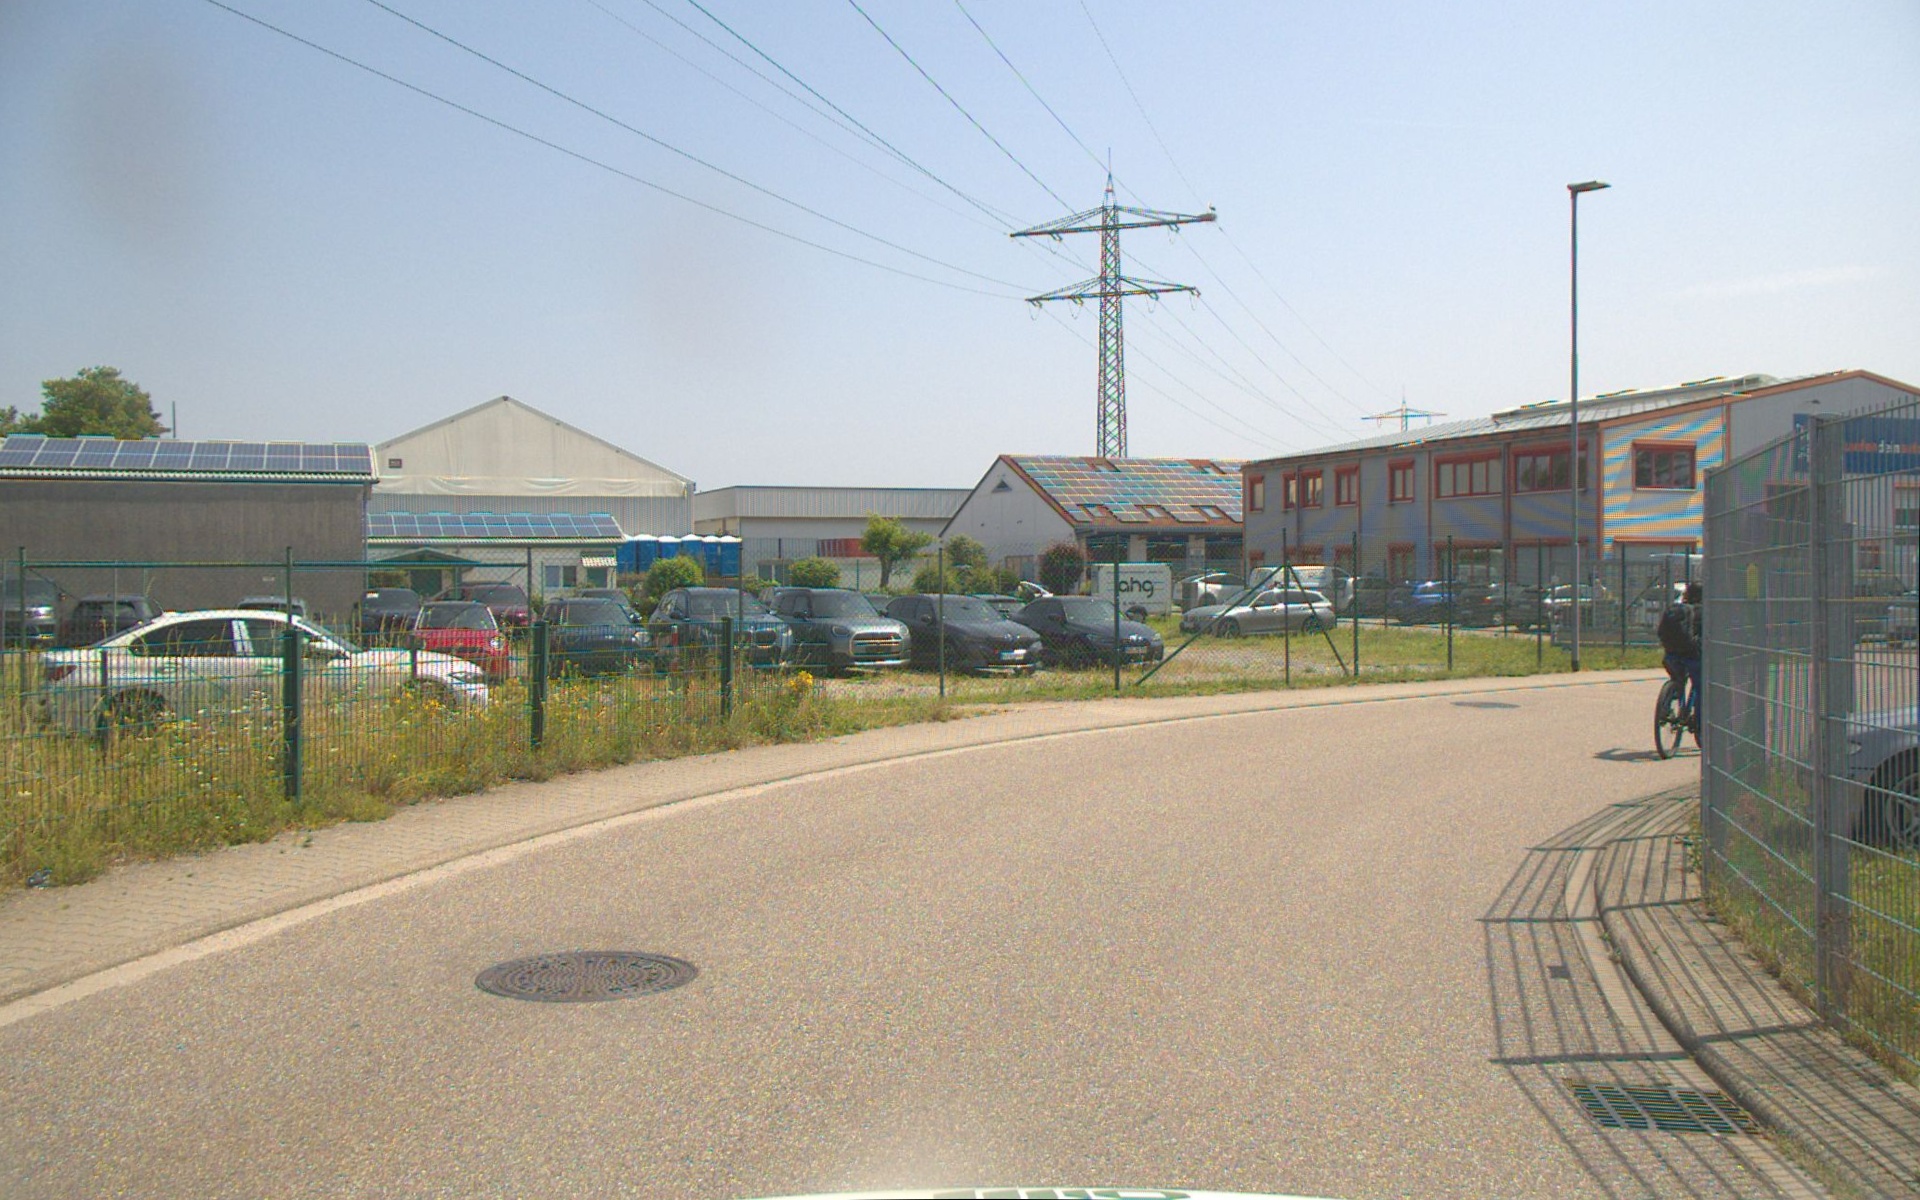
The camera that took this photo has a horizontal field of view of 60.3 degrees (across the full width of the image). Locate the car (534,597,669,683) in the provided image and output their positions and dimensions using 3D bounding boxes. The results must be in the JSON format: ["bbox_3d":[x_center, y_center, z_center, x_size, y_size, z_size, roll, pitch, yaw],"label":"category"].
[{"bbox_3d":[-6.661,0.683,30.484,1.837,1.458,3.624,0,0,-22],"label":"car"}]

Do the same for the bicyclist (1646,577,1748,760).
[{"bbox_3d":[6.974,0.612,15.636,0.826,1.646,1.038,1,1,26],"label":"bicyclist"}]

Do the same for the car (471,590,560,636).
[{"bbox_3d":[-12.310,0.324,45.635,1.837,1.196,4.572,0,0,-22],"label":"car"}]

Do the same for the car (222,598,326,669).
[{"bbox_3d":[-13.765,0.623,33.109,1.838,1.321,3.415,0,0,-24],"label":"car"}]

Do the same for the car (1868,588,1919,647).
[{"bbox_3d":[25.097,0.420,42.068,3.544,1.429,1.739,-1,1,-24],"label":"car"}]

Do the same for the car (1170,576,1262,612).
[{"bbox_3d":[11.291,-0.278,72.987,3.842,1.542,1.497,-1,1,-24],"label":"car"}]

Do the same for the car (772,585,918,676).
[{"bbox_3d":[-2.317,0.548,32.574,1.837,1.672,3.609,0,0,-22],"label":"car"}]

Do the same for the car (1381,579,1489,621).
[{"bbox_3d":[16.765,-0.013,58.335,3.544,1.441,1.497,-1,1,-24],"label":"car"}]

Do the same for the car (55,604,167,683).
[{"bbox_3d":[-16.786,0.812,32.627,1.843,1.439,3.407,0,0,-30],"label":"car"}]

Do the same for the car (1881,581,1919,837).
[{"bbox_3d":[7.397,0.600,8.859,4.264,1.419,1.613,0,0,32],"label":"car"}]

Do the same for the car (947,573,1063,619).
[{"bbox_3d":[1.656,-0.161,61.259,3.930,1.626,1.865,0,0,-21],"label":"car"}]

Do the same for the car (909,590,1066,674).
[{"bbox_3d":[0.489,0.588,33.112,1.837,1.581,3.745,0,0,-22],"label":"car"}]

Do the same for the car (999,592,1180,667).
[{"bbox_3d":[2.653,0.565,35.075,1.968,1.460,4.633,0,0,-22],"label":"car"}]

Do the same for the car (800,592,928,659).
[{"bbox_3d":[-2.330,0.564,39.135,1.964,1.445,3.977,-1,1,-20],"label":"car"}]

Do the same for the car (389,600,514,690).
[{"bbox_3d":[-9.078,0.748,29.381,1.837,1.479,3.417,0,0,-22],"label":"car"}]

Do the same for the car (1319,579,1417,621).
[{"bbox_3d":[15.832,0.002,64.171,3.544,1.571,1.497,-1,1,-24],"label":"car"}]

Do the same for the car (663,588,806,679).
[{"bbox_3d":[-4.312,0.582,31.197,1.837,1.588,3.672,0,0,-22],"label":"car"}]

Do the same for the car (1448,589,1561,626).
[{"bbox_3d":[18.421,0.243,55.946,3.544,1.171,1.497,-1,1,-24],"label":"car"}]

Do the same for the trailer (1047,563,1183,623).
[{"bbox_3d":[5.281,-0.239,56.535,4.364,1.979,1.711,-1,1,-8],"label":"trailer"}]

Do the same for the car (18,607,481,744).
[{"bbox_3d":[-7.724,0.768,18.333,4.484,1.330,1.856,0,0,-23],"label":"car"}]

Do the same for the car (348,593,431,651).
[{"bbox_3d":[-15.357,0.537,44.400,1.837,1.458,4.572,0,0,-22],"label":"car"}]

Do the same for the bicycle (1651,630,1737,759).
[{"bbox_3d":[7.003,0.859,15.733,0.671,1.069,1.899,1,1,26],"label":"bicycle"}]

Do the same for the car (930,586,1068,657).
[{"bbox_3d":[0.863,0.456,39.891,1.965,1.460,4.400,0,2,-18],"label":"car"}]

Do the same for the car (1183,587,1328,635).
[{"bbox_3d":[8.383,0.304,46.841,4.074,1.283,1.226,-1,1,-24],"label":"car"}]

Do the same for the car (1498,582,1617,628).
[{"bbox_3d":[19.077,0.130,52.807,3.544,1.405,1.497,-1,1,-24],"label":"car"}]

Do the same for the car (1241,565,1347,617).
[{"bbox_3d":[13.375,-0.367,66.230,3.842,2.013,1.810,-1,1,-24],"label":"car"}]
